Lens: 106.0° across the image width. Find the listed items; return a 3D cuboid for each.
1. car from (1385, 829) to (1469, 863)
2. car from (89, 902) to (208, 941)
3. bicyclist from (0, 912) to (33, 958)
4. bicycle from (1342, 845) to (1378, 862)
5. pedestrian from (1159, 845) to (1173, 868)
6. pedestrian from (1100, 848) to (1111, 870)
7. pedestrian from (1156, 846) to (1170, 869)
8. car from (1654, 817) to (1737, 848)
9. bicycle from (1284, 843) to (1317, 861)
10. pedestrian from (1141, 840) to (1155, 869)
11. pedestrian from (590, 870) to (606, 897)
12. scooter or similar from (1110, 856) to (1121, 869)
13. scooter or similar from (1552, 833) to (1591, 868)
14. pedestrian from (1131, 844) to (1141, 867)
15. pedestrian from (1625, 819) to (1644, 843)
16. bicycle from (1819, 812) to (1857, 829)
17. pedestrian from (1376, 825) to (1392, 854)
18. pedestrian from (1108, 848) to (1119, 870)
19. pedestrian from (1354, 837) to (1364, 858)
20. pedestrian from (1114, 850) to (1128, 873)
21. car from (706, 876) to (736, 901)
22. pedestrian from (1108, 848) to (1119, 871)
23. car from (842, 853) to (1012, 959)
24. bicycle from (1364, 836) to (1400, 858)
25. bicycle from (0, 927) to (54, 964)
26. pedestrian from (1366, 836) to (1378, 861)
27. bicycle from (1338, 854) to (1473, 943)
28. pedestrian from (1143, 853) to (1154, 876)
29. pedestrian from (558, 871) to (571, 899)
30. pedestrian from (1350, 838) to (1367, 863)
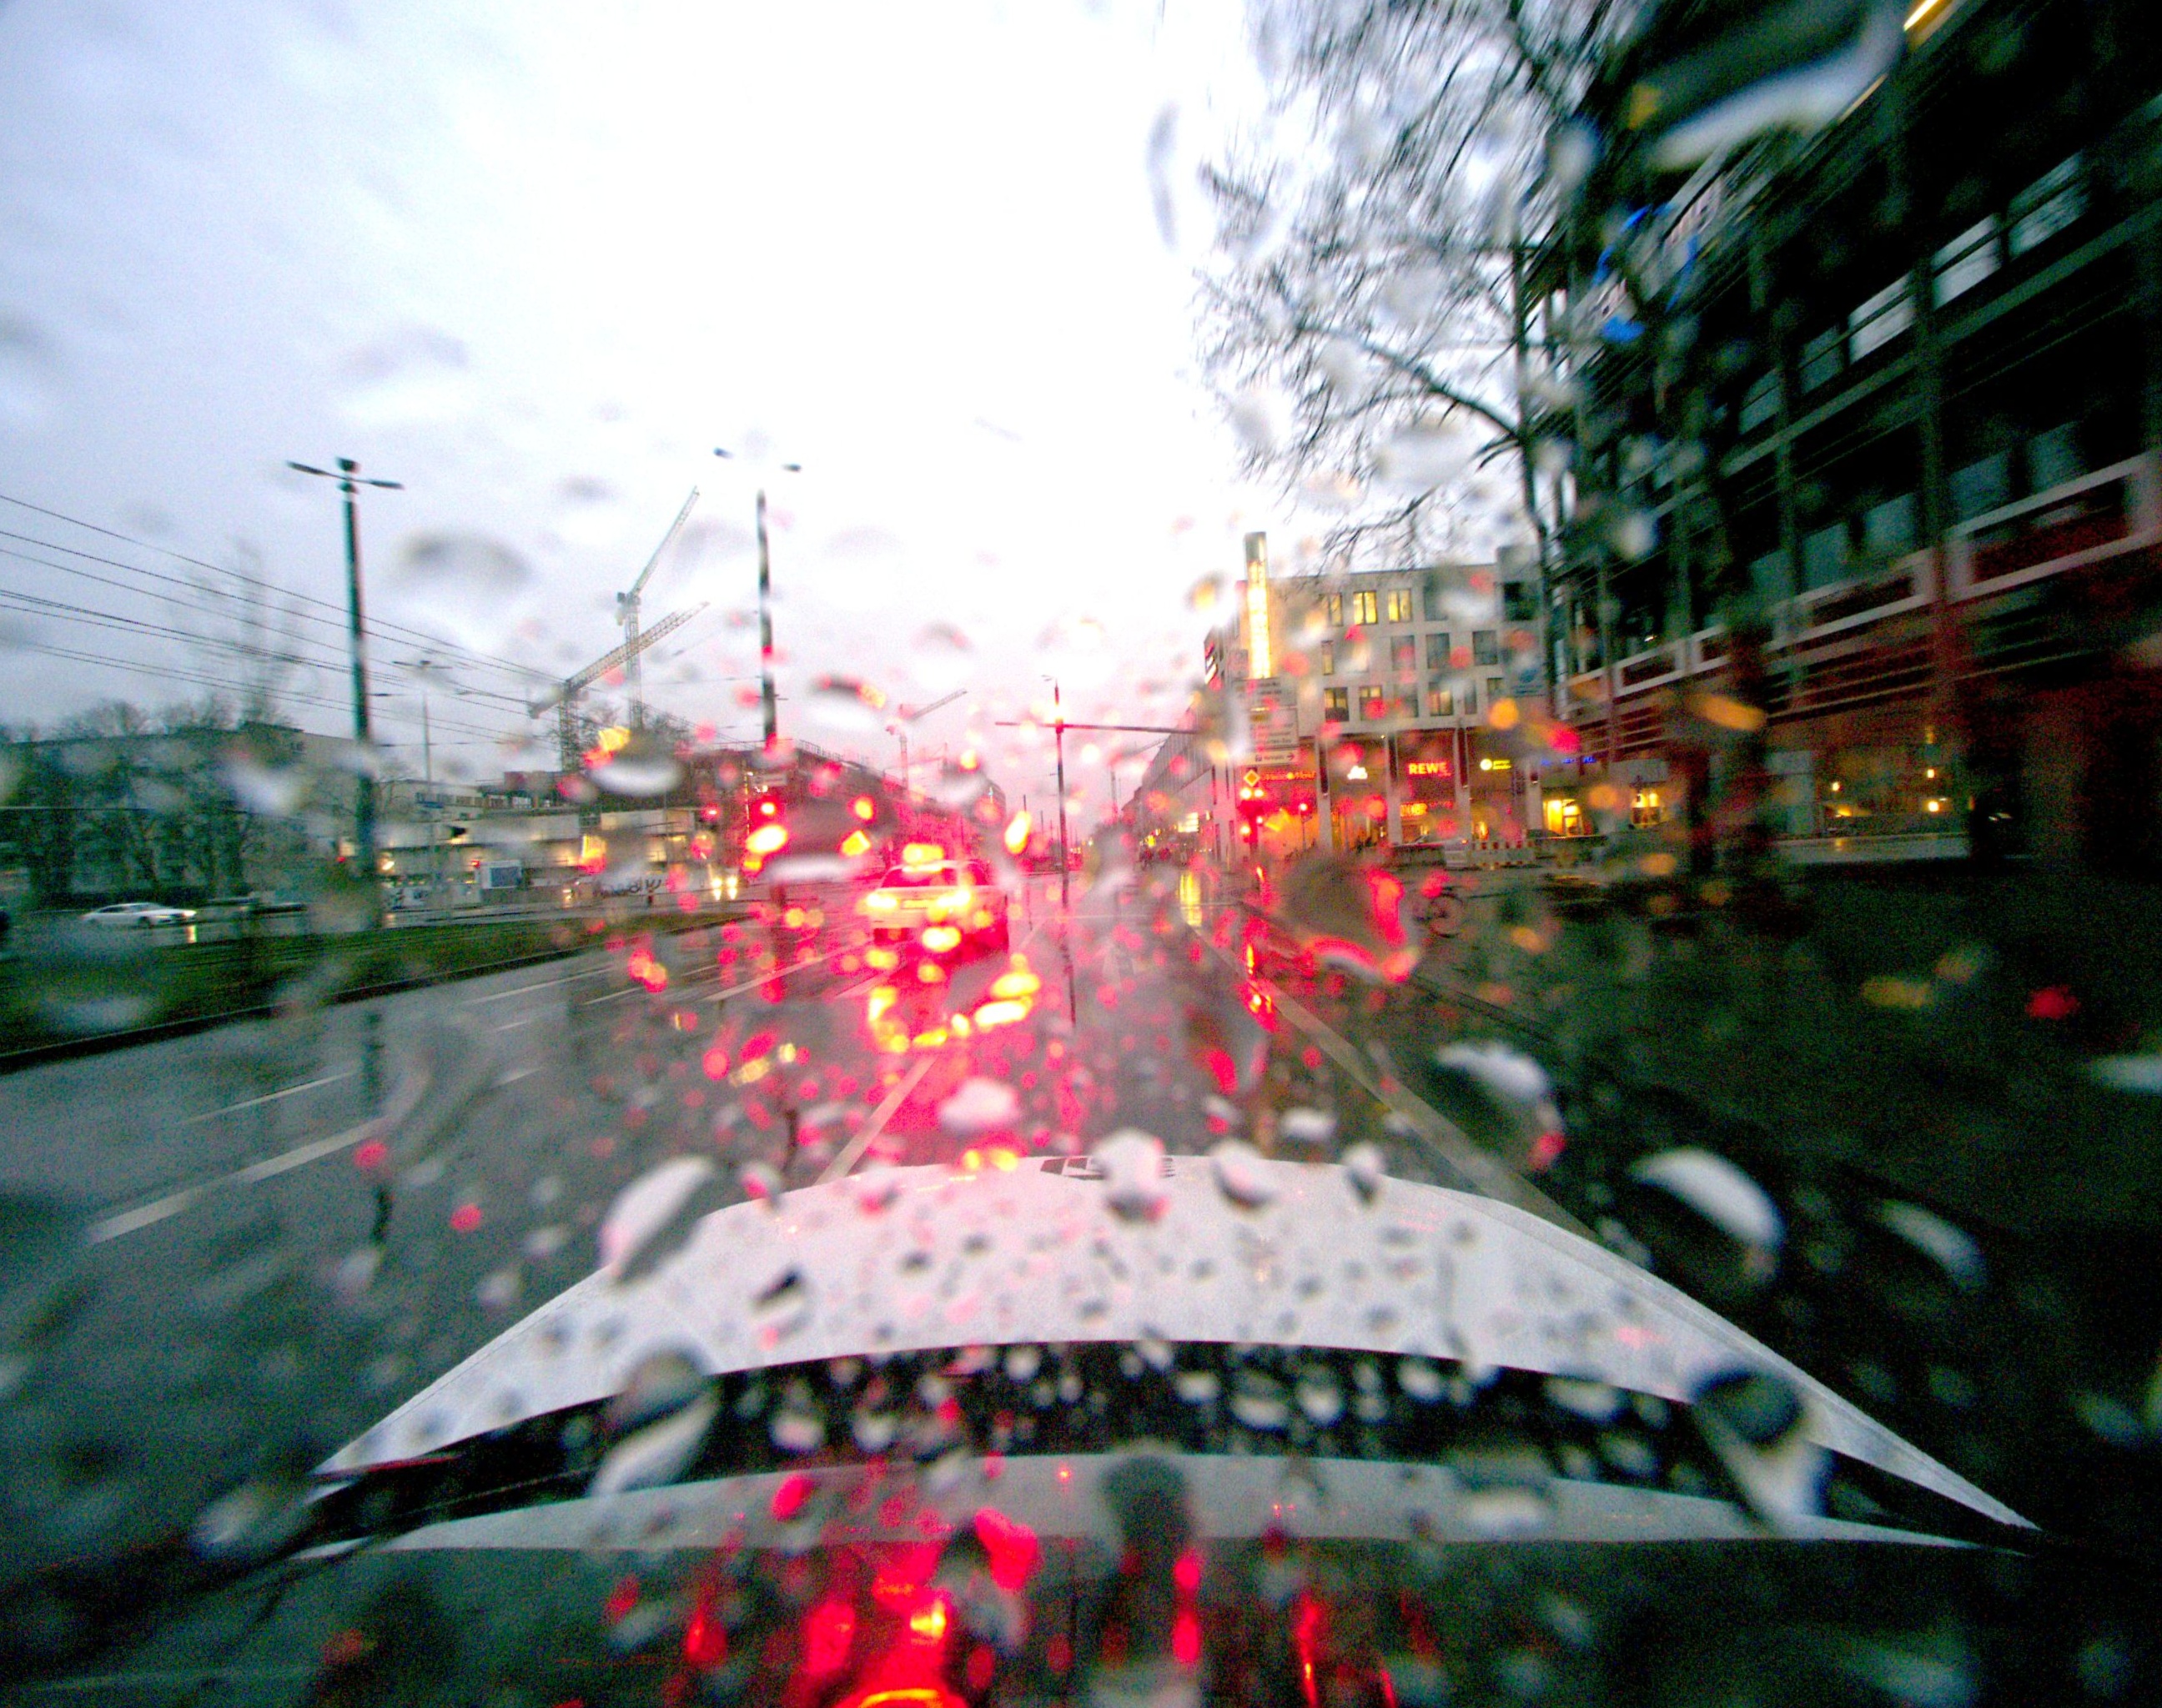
[{"bbox_3d":[20.698,-0.474,48.834,4.281,1.761,1.710,-3,0,6],"label":"car"},{"bbox_3d":[-50.325,3.612,44.025,3.974,1.684,2.000,-3,0,0],"label":"car"},{"bbox_3d":[-44.759,3.387,33.986,0.992,1.839,0.719,-4,0,-6],"label":"bicyclist"},{"bbox_3d":[18.105,-0.022,52.832,2.120,0.991,0.542,-2,-1,2],"label":"bicycle"},{"bbox_3d":[6.596,0.205,63.189,0.844,1.688,0.674,-3,0,-13],"label":"pedestrian"},{"bbox_3d":[1.897,0.361,63.020,0.737,1.667,0.401,-3,0,5],"label":"pedestrian"},{"bbox_3d":[6.250,0.243,62.264,0.830,1.679,0.618,-3,0,-7],"label":"pedestrian"},{"bbox_3d":[36.186,-1.260,47.999,3.556,1.582,1.677,-3,-1,1],"label":"car"},{"bbox_3d":[17.476,-0.154,64.759,2.419,1.329,0.634,-3,0,-2],"label":"bicycle"},{"bbox_3d":[4.887,0.054,59.595,0.691,2.087,0.606,-3,0,-37],"label":"pedestrian"},{"bbox_3d":[-37.337,2.276,62.977,0.791,2.014,0.746,-3,-3,-6],"label":"pedestrian"},{"bbox_3d":[2.656,0.676,62.959,0.737,0.993,0.401,-3,0,5],"label":"scooter or similar"},{"bbox_3d":[16.834,-0.127,27.964,0.602,1.130,1.236,-3,0,3],"label":"scooter or similar"},{"bbox_3d":[4.152,0.125,61.642,0.617,1.746,0.612,-3,0,-2],"label":"pedestrian"},{"bbox_3d":[37.798,-1.577,55.628,0.791,1.631,0.710,-2,-1,3],"label":"pedestrian"},{"bbox_3d":[50.109,-2.228,53.938,0.613,1.033,2.139,-3,0,5],"label":"bicycle"},{"bbox_3d":[17.207,-0.822,46.291,0.774,1.595,0.616,-3,0,18],"label":"pedestrian"},{"bbox_3d":[2.453,0.411,61.697,0.703,1.619,0.681,-3,0,4],"label":"pedestrian"},{"bbox_3d":[23.010,-0.536,67.413,0.530,1.717,0.505,-3,0,41],"label":"pedestrian"},{"bbox_3d":[3.000,0.569,60.629,0.808,1.619,0.542,-3,0,41],"label":"pedestrian"},{"bbox_3d":[-31.889,3.002,72.153,1.759,2.013,3.979,-3,0,-15],"label":"car"},{"bbox_3d":[2.396,0.400,60.168,0.704,1.619,0.613,-3,0,1],"label":"pedestrian"},{"bbox_3d":[-2.561,0.788,14.875,1.902,1.520,4.926,-3,0,2],"label":"car"},{"bbox_3d":[17.101,-0.397,46.339,1.830,1.093,0.620,-3,0,18],"label":"bicycle"},{"bbox_3d":[-44.951,3.874,34.006,2.827,1.362,0.719,-4,0,-6],"label":"bicycle"},{"bbox_3d":[20.219,-0.371,56.612,0.530,1.685,0.552,-3,0,41],"label":"pedestrian"},{"bbox_3d":[4.793,0.643,12.055,1.746,1.148,0.435,-5,0,-2],"label":"bicycle"},{"bbox_3d":[5.291,0.790,63.793,0.699,1.760,0.668,-3,0,3],"label":"pedestrian"},{"bbox_3d":[-38.645,2.299,60.892,0.507,2.014,0.638,-5,-4,-7],"label":"pedestrian"},{"bbox_3d":[18.009,-0.205,52.848,0.811,1.570,0.537,-3,0,2],"label":"pedestrian"}]
